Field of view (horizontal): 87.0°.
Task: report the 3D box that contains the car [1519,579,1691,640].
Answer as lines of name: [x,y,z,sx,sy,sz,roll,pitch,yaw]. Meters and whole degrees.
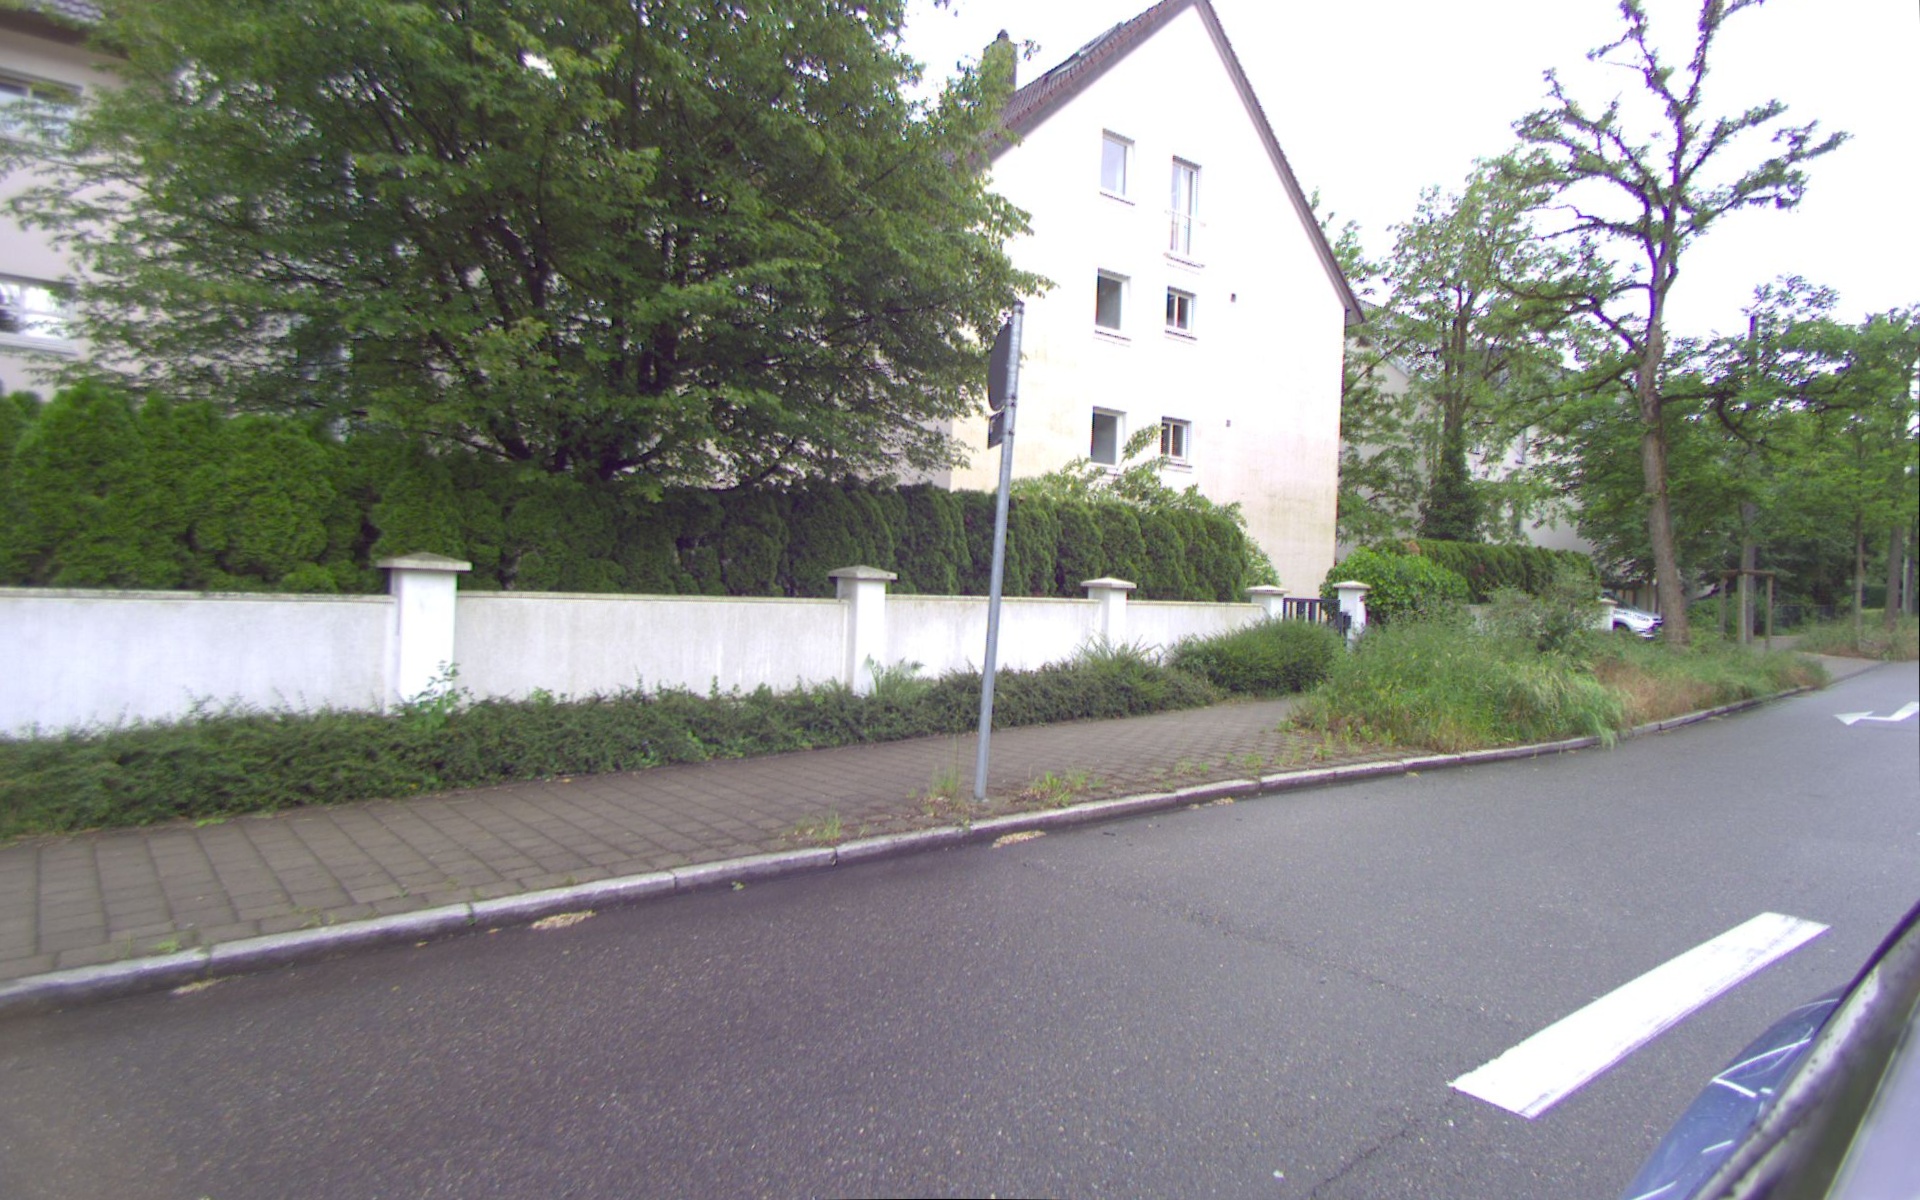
car: [20.661,0.244,32.610,1.837,1.840,4.322,1,1,-31]
